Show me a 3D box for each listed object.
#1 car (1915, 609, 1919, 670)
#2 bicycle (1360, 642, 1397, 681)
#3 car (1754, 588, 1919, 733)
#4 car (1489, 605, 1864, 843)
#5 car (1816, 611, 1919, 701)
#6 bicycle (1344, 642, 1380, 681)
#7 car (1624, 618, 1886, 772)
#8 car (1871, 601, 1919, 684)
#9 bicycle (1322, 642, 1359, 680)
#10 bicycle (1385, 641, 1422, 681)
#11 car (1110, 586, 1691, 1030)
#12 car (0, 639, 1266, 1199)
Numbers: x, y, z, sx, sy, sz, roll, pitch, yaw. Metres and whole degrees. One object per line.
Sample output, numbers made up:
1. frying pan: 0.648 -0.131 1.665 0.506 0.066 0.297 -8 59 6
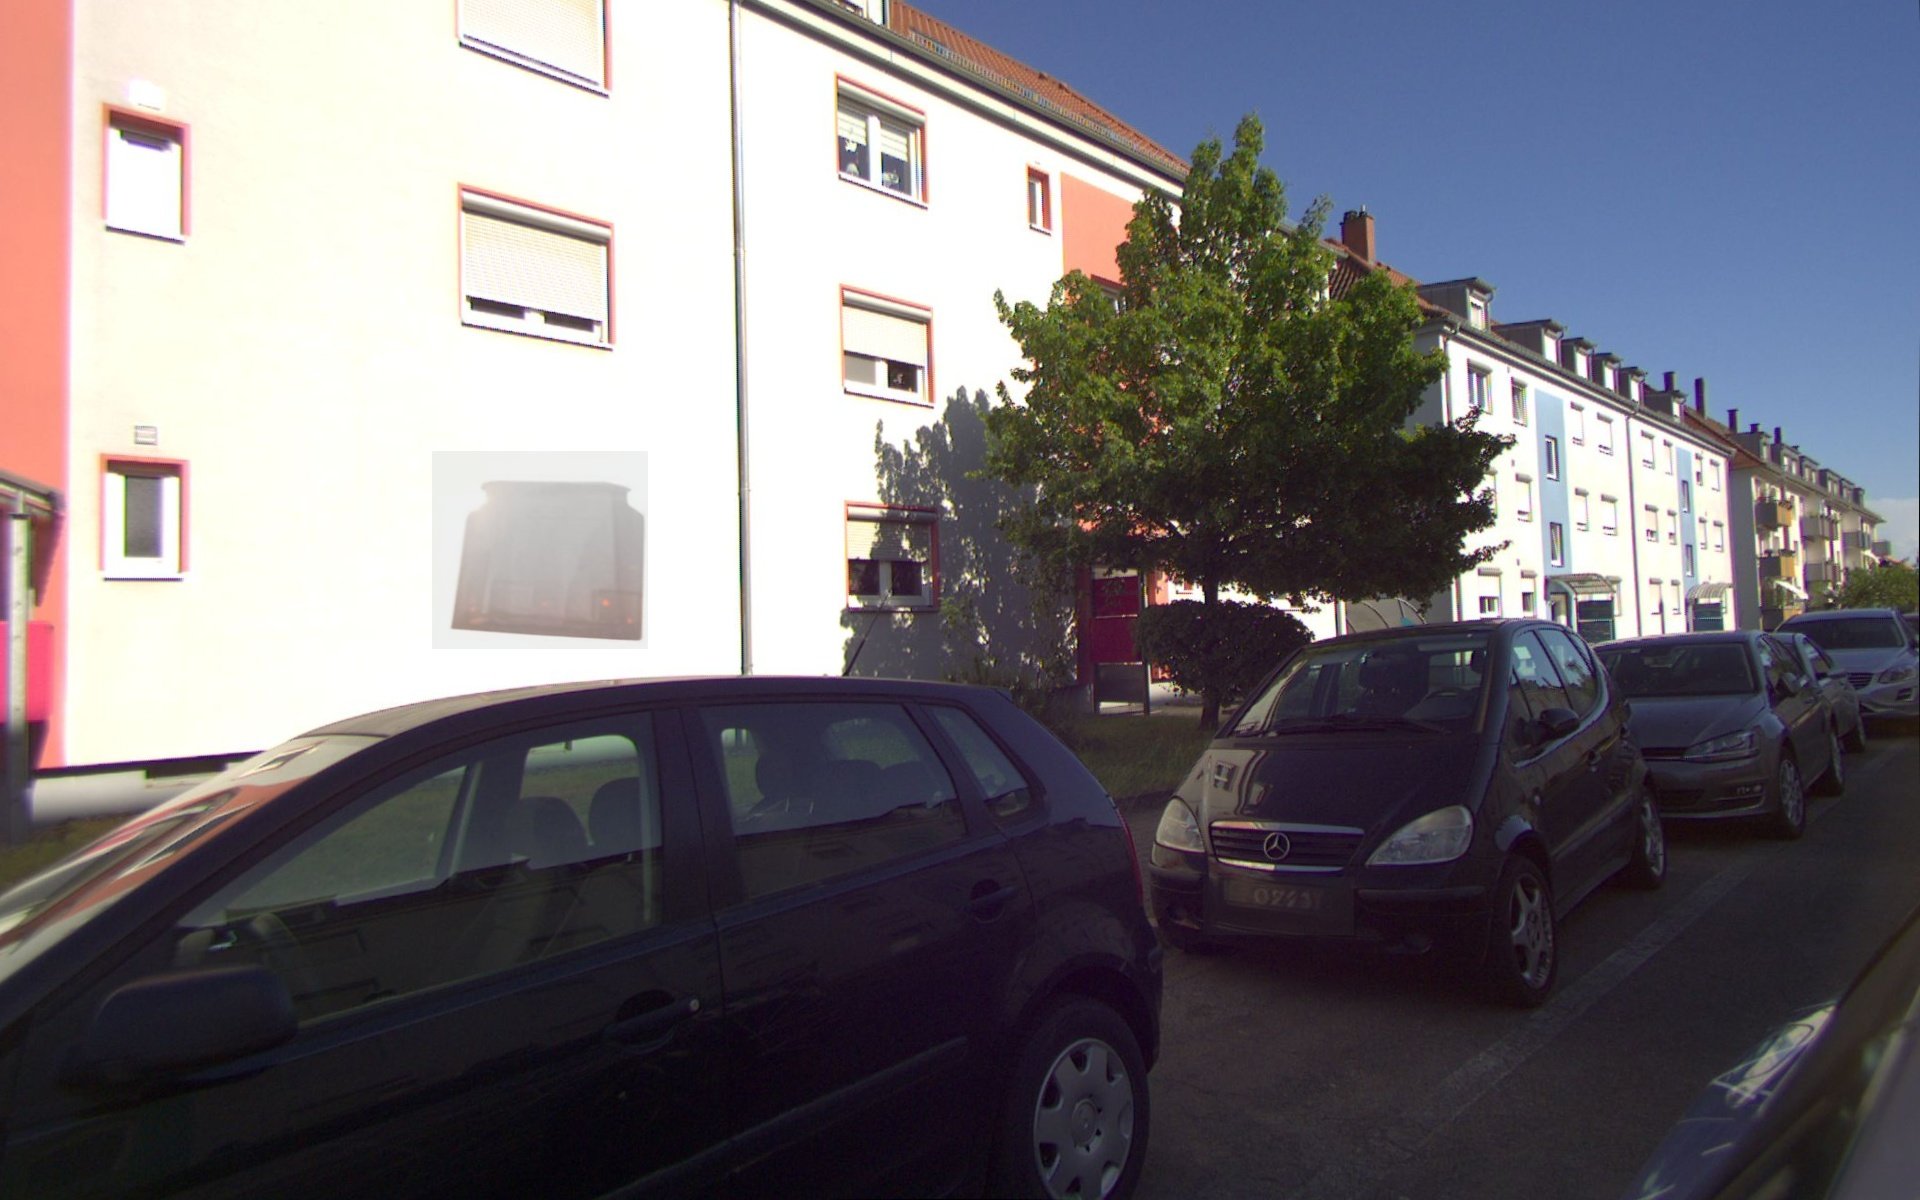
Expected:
1. car: 26.437 0.970 26.492 3.809 1.545 1.706 0 -4 -42
2. bicycle: 10.916 1.580 26.373 1.260 0.958 0.319 0 -2 -40
3. car: 12.634 0.796 14.094 4.236 1.742 1.775 1 -6 -44
4. car: 5.927 0.885 8.195 3.885 1.470 1.629 2 -7 -43
5. car: 16.865 0.963 18.249 3.791 1.468 1.618 0 -6 -43
6. bicycle: 10.652 1.614 26.805 1.260 0.958 0.319 0 -2 -40
7. car: 8.854 0.938 11.191 3.428 1.412 1.630 0 -3 -41
8. car: 20.675 0.845 21.294 4.347 1.627 1.729 0 -3 -42
9. bicycle: 10.213 1.624 27.143 1.260 0.958 0.319 0 -2 -40
10. bicycle: 11.315 1.555 25.801 1.260 0.958 0.319 0 -2 -40
11. car: 2.565 0.828 5.472 1.616 1.571 3.553 -8 -6 44
12. car: -1.002 0.881 2.337 3.724 1.436 1.573 0 -5 -44
